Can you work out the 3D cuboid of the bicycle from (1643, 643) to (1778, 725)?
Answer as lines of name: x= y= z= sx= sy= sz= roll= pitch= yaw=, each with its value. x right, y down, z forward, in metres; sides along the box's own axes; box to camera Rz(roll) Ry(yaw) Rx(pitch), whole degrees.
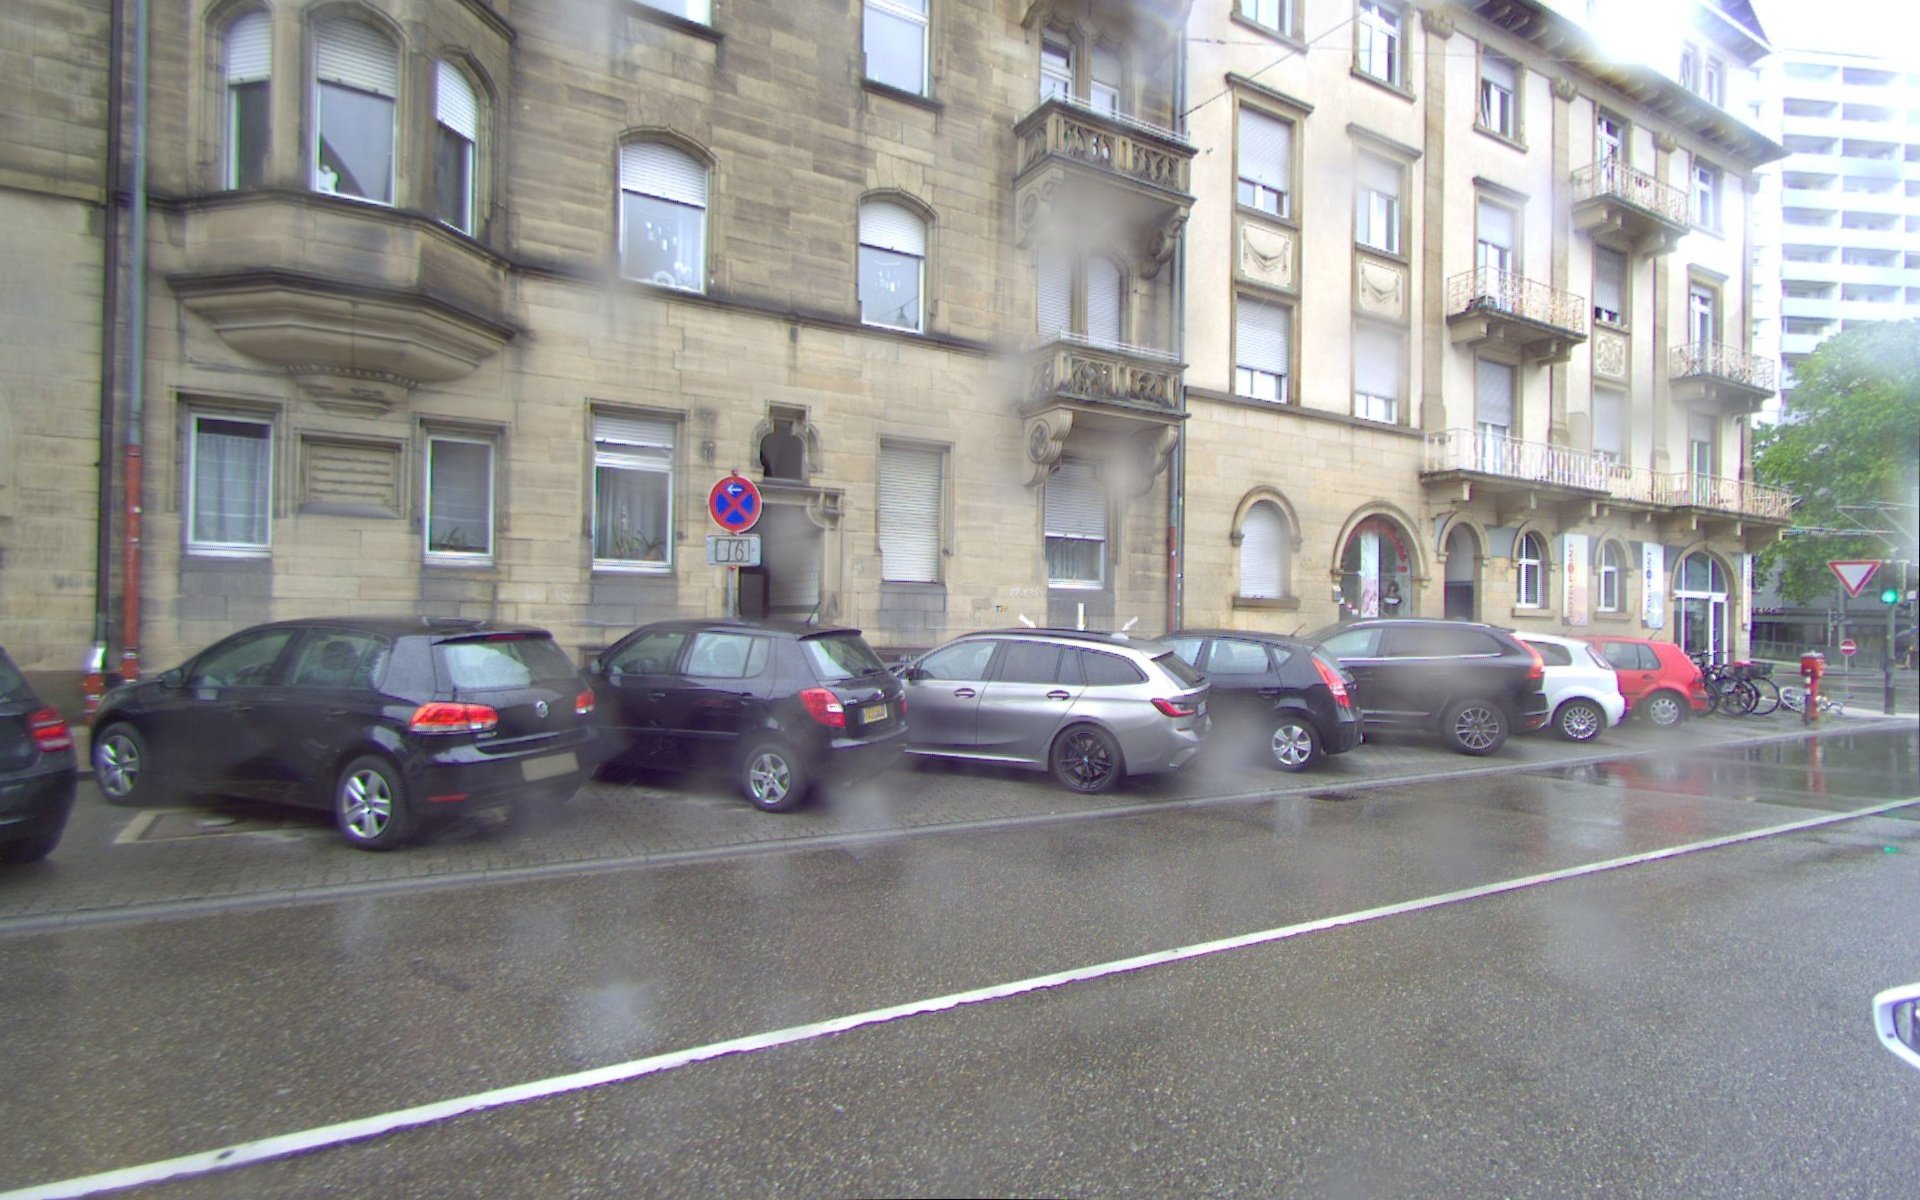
bicycle: x=13.256 y=1.452 z=17.812 sx=0.592 sy=1.201 sz=1.805 roll=1 pitch=3 yaw=-24

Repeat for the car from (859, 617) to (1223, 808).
car: x=0.864 y=1.028 z=10.326 sx=3.362 sy=1.564 sz=1.701 roll=2 pitch=0 yaw=21

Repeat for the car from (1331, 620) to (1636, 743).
car: x=7.794 y=1.157 z=15.384 sx=3.916 sy=1.554 sz=1.704 roll=2 pitch=0 yaw=21

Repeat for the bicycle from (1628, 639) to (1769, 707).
bicycle: x=15.625 y=1.519 z=21.340 sx=0.634 sy=1.364 sz=2.326 roll=1 pitch=-2 yaw=-34

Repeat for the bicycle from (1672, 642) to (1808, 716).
bicycle: x=14.902 y=1.476 z=19.259 sx=0.470 sy=1.200 sz=1.968 roll=2 pitch=2 yaw=-32

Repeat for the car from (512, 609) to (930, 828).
car: x=-2.158 y=0.917 z=9.111 sx=3.378 sy=1.564 sz=1.627 roll=2 pitch=0 yaw=24

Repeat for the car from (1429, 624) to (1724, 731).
car: x=10.227 y=1.229 z=17.027 sx=3.920 sy=1.528 sz=1.804 roll=1 pitch=0 yaw=18

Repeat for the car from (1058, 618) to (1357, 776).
car: x=2.993 y=1.054 z=12.044 sx=3.246 sy=1.545 sz=1.700 roll=2 pitch=0 yaw=22

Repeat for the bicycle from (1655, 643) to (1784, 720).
bicycle: x=14.057 y=1.481 z=18.652 sx=0.469 sy=1.200 sz=1.800 roll=1 pitch=2 yaw=-31

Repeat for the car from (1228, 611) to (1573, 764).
car: x=5.831 y=1.071 z=13.691 sx=4.005 sy=1.715 sz=1.764 roll=2 pitch=0 yaw=21

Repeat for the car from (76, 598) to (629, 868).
car: x=-4.572 y=0.826 z=7.608 sx=3.685 sy=1.564 sz=1.628 roll=2 pitch=0 yaw=20

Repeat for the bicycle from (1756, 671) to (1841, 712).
bicycle: x=16.792 y=1.816 z=20.167 sx=1.024 sy=0.672 sz=1.476 roll=3 pitch=0 yaw=29

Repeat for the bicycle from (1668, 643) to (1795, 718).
bicycle: x=14.482 y=1.476 z=18.917 sx=0.463 sy=1.200 sz=1.800 roll=2 pitch=2 yaw=-31

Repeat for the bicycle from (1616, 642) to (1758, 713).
bicycle: x=15.106 y=1.573 z=20.946 sx=0.634 sy=1.364 sz=2.326 roll=1 pitch=-2 yaw=-34

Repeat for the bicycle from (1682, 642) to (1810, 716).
bicycle: x=15.275 y=1.502 z=19.586 sx=0.432 sy=1.347 sz=1.969 roll=1 pitch=-1 yaw=-27

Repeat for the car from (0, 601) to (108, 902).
car: x=-6.900 y=0.763 z=5.713 sx=3.657 sy=1.564 sz=1.777 roll=2 pitch=0 yaw=25

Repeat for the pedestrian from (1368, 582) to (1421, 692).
pedestrian: x=9.526 y=0.808 z=22.031 sx=0.750 sy=2.371 sz=0.847 roll=1 pitch=-1 yaw=-8

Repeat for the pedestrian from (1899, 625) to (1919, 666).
pedestrian: x=42.990 y=2.048 z=45.328 sx=0.666 sy=1.862 sz=0.640 roll=0 pitch=-2 yaw=19
